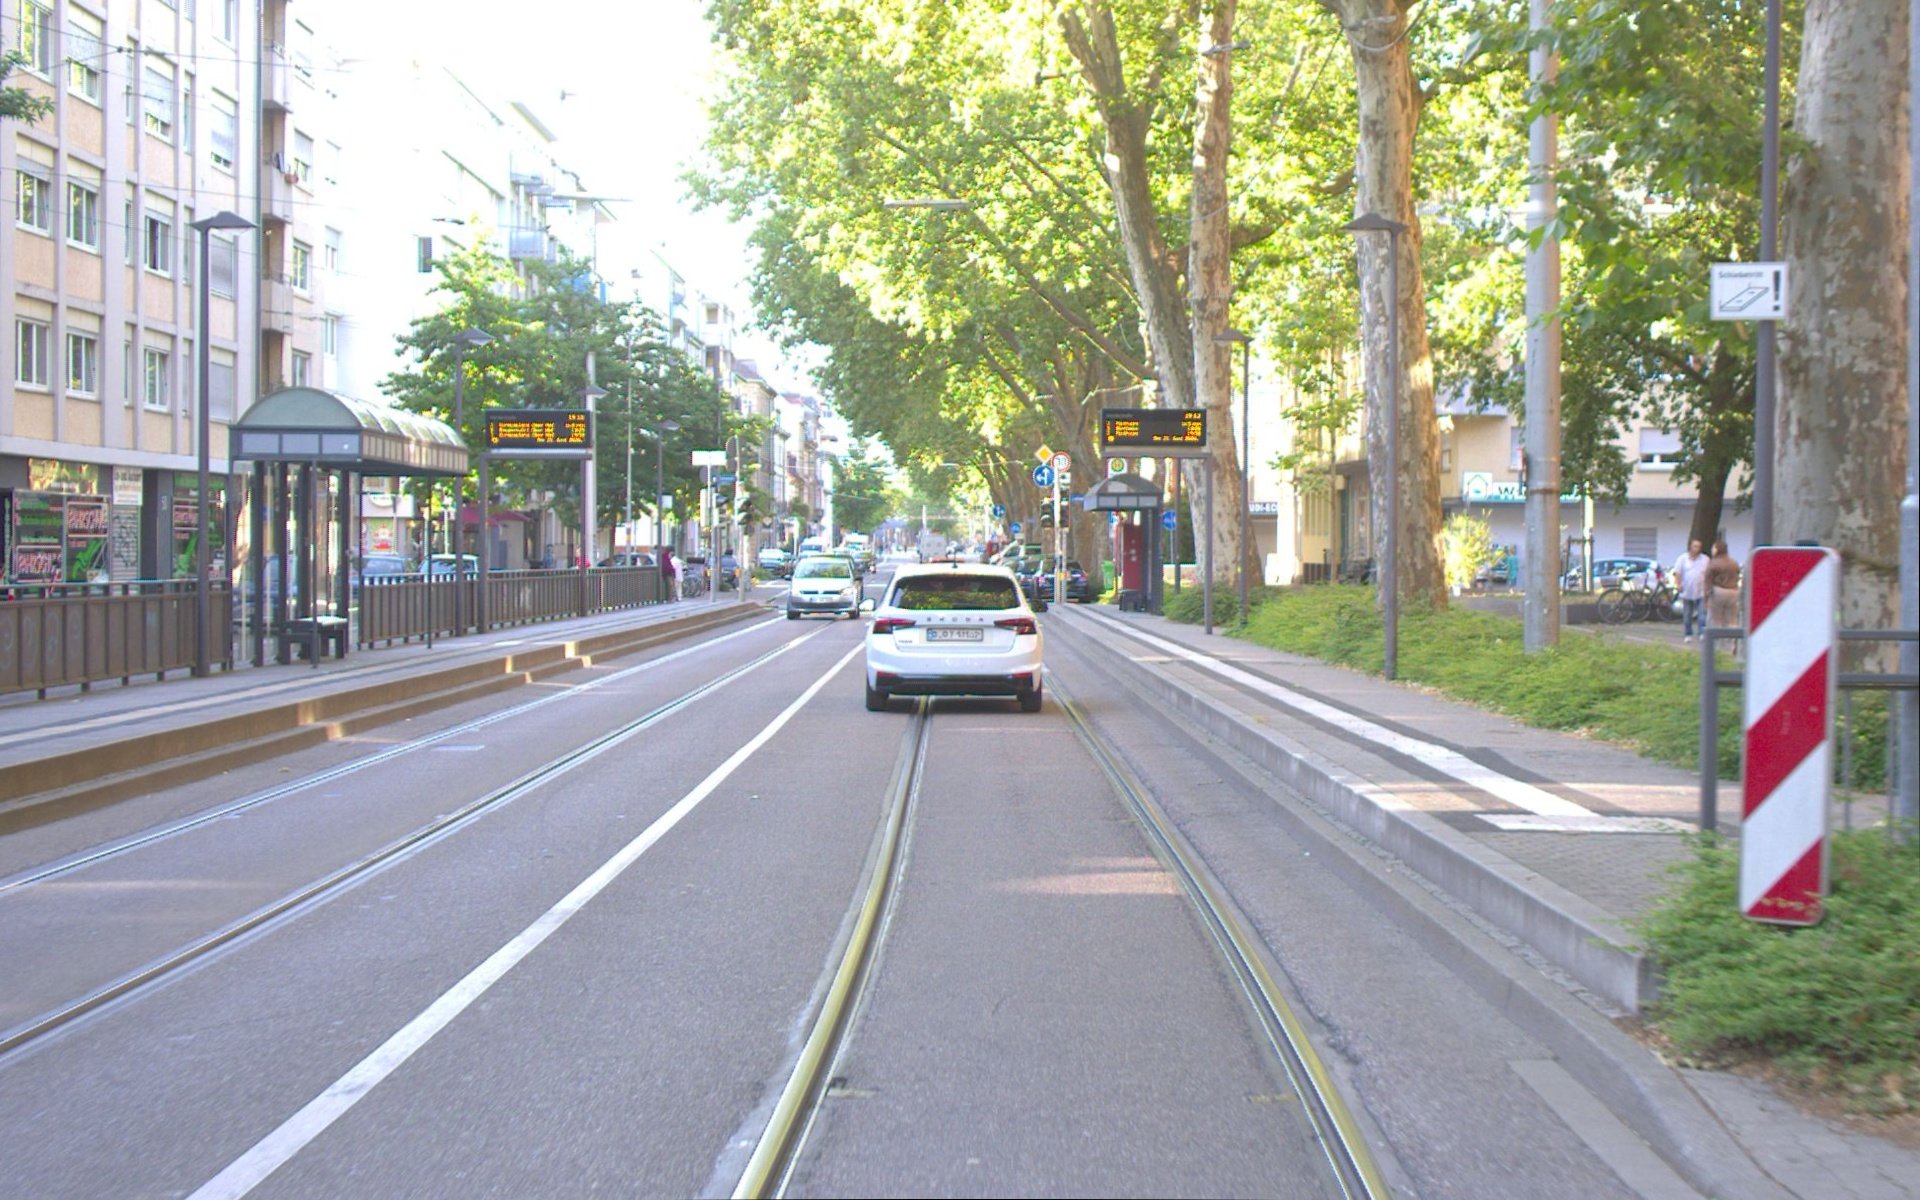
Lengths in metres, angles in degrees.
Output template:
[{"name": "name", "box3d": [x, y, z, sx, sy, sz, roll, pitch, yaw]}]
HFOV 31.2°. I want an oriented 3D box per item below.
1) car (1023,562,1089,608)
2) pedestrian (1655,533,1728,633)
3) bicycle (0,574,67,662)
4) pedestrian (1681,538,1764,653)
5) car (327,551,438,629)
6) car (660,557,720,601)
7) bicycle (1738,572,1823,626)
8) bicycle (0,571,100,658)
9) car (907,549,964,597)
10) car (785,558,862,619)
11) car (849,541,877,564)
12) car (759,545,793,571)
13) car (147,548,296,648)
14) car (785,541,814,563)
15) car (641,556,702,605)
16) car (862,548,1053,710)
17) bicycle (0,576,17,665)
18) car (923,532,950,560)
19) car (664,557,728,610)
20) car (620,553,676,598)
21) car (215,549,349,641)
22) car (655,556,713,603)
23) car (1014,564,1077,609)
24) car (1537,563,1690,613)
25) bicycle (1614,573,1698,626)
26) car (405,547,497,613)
[{"name": "car", "box3d": [3.045, -0.497, 110.204, 1.993, 1.448, 4.000, 0, 1, 0]}, {"name": "pedestrian", "box3d": [11.857, -0.281, 55.744, 0.972, 1.618, 0.887, 0, 1, 0]}, {"name": "bicycle", "box3d": [-12.674, 0.182, 44.047, 2.253, 1.070, 0.636, 4, 1, 1]}, {"name": "pedestrian", "box3d": [10.848, -0.070, 48.917, 0.972, 1.618, 0.887, 0, 1, 0]}, {"name": "car", "box3d": [-12.387, -0.241, 73.904, 1.678, 1.543, 4.000, 3, 1, 0]}, {"name": "car", "box3d": [-9.759, -0.774, 124.569, 1.794, 1.505, 4.000, 3, 1, 0]}, {"name": "bicycle", "box3d": [16.039, -0.031, 67.206, 1.568, 1.034, 0.479, 1, 1, 21]}, {"name": "bicycle", "box3d": [-12.683, 0.163, 45.773, 2.253, 1.070, 0.636, 4, 1, 1]}, {"name": "car", "box3d": [-0.773, -0.869, 109.463, 1.788, 1.508, 4.000, 0, 1, 0]}, {"name": "car", "box3d": [-3.257, -0.297, 82.661, 1.694, 1.414, 4.000, 0, 1, 0]}, {"name": "car", "box3d": [-6.464, -3.175, 230.031, 1.788, 1.508, 4.000, 0, 1, 0]}, {"name": "car", "box3d": [-10.902, -2.502, 203.963, 1.788, 1.508, 4.000, 0, 1, 0]}, {"name": "car", "box3d": [-12.335, -0.067, 57.639, 1.593, 1.543, 4.000, 3, 1, 0]}, {"name": "car", "box3d": [-11.109, -3.300, 237.819, 1.788, 1.508, 4.000, 0, 1, 0]}, {"name": "car", "box3d": [-9.746, -0.684, 116.189, 1.678, 1.543, 4.000, 3, 1, 0]}, {"name": "car", "box3d": [-0.029, 0.241, 34.268, 1.788, 1.508, 4.000, 0, 1, 0]}, {"name": "bicycle", "box3d": [-12.818, 0.187, 42.217, 2.253, 1.070, 0.636, 4, 1, 1]}, {"name": "car", "box3d": [-1.615, -3.685, 235.789, 1.866, 1.886, 4.000, 0, 1, 0]}, {"name": "car", "box3d": [-8.309, -0.534, 108.412, 1.678, 1.543, 4.000, 3, 1, 0]}, {"name": "car", "box3d": [-11.595, -0.927, 127.932, 1.678, 1.543, 4.000, 3, 1, 0]}, {"name": "car", "box3d": [-12.322, -0.121, 62.640, 1.593, 1.543, 4.000, 3, 1, 0]}, {"name": "car", "box3d": [-9.635, -0.725, 120.311, 1.678, 1.543, 4.000, 3, 1, 0]}, {"name": "car", "box3d": [2.853, -0.457, 115.293, 1.993, 1.448, 4.000, 0, 1, 0]}, {"name": "car", "box3d": [18.306, -0.356, 96.443, 3.987, 1.368, 1.867, 0, 1, 2]}, {"name": "bicycle", "box3d": [13.757, -0.013, 67.962, 1.568, 1.034, 0.504, 1, 1, 21]}, {"name": "car", "box3d": [-12.728, -0.508, 86.140, 1.678, 1.543, 4.000, 3, 1, 0]}]
